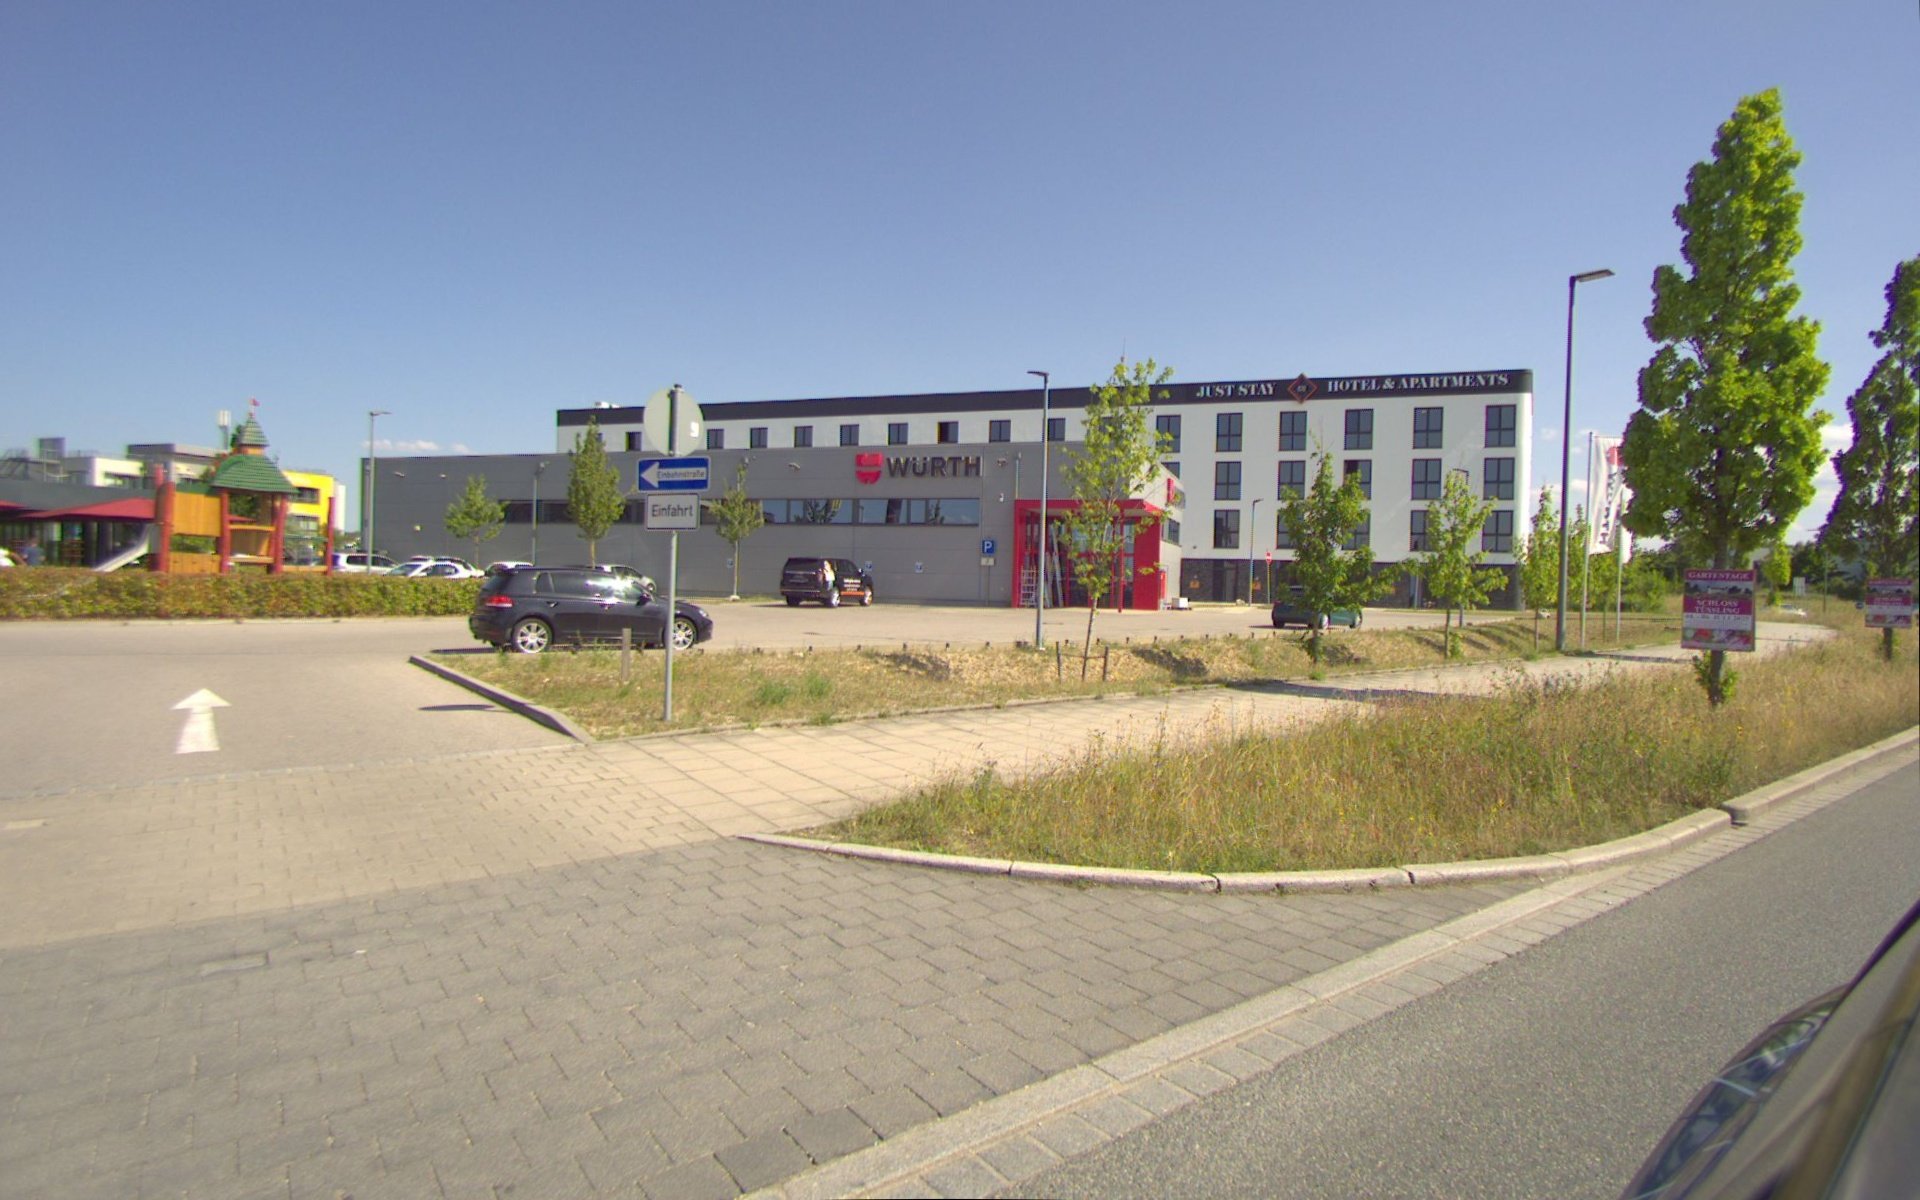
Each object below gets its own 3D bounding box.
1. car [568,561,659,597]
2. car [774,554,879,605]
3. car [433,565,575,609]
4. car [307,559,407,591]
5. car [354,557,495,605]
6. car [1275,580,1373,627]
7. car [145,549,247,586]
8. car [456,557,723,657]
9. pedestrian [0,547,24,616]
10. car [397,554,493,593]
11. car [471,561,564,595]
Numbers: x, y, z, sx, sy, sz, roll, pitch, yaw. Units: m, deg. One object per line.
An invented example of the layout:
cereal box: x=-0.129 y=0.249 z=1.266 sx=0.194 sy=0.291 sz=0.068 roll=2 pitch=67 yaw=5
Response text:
car: x=-15.333 y=-0.937 z=45.045 sx=1.680 sy=1.480 sz=4.083 roll=1 pitch=1 yaw=19
car: x=-5.198 y=-0.803 z=40.086 sx=2.024 sy=1.838 sz=4.890 roll=2 pitch=1 yaw=21
car: x=-13.773 y=-0.403 z=30.839 sx=1.632 sy=1.227 sz=4.111 roll=1 pitch=1 yaw=18
car: x=-29.440 y=-1.212 z=49.549 sx=1.680 sy=1.480 sz=4.083 roll=1 pitch=1 yaw=19
car: x=-17.832 y=-0.636 z=33.917 sx=1.680 sy=1.490 sz=4.208 roll=1 pitch=1 yaw=18
car: x=12.021 y=0.093 z=33.325 sx=1.514 sy=1.425 sz=3.936 roll=2 pitch=2 yaw=44
car: x=-39.616 y=-1.692 z=52.492 sx=4.866 sy=1.838 sz=2.034 roll=2 pitch=1 yaw=22
car: x=-6.466 y=0.074 z=17.860 sx=4.093 sy=1.559 sz=1.785 roll=0 pitch=2 yaw=-39
pedestrian: x=-24.800 y=-0.478 z=26.159 sx=0.515 sy=1.771 sz=0.812 roll=1 pitch=1 yaw=33
car: x=-24.751 y=-1.274 z=48.779 sx=1.680 sy=1.779 sz=4.083 roll=1 pitch=1 yaw=19
car: x=-20.616 y=-1.031 z=47.281 sx=1.680 sy=1.480 sz=4.083 roll=1 pitch=1 yaw=19
